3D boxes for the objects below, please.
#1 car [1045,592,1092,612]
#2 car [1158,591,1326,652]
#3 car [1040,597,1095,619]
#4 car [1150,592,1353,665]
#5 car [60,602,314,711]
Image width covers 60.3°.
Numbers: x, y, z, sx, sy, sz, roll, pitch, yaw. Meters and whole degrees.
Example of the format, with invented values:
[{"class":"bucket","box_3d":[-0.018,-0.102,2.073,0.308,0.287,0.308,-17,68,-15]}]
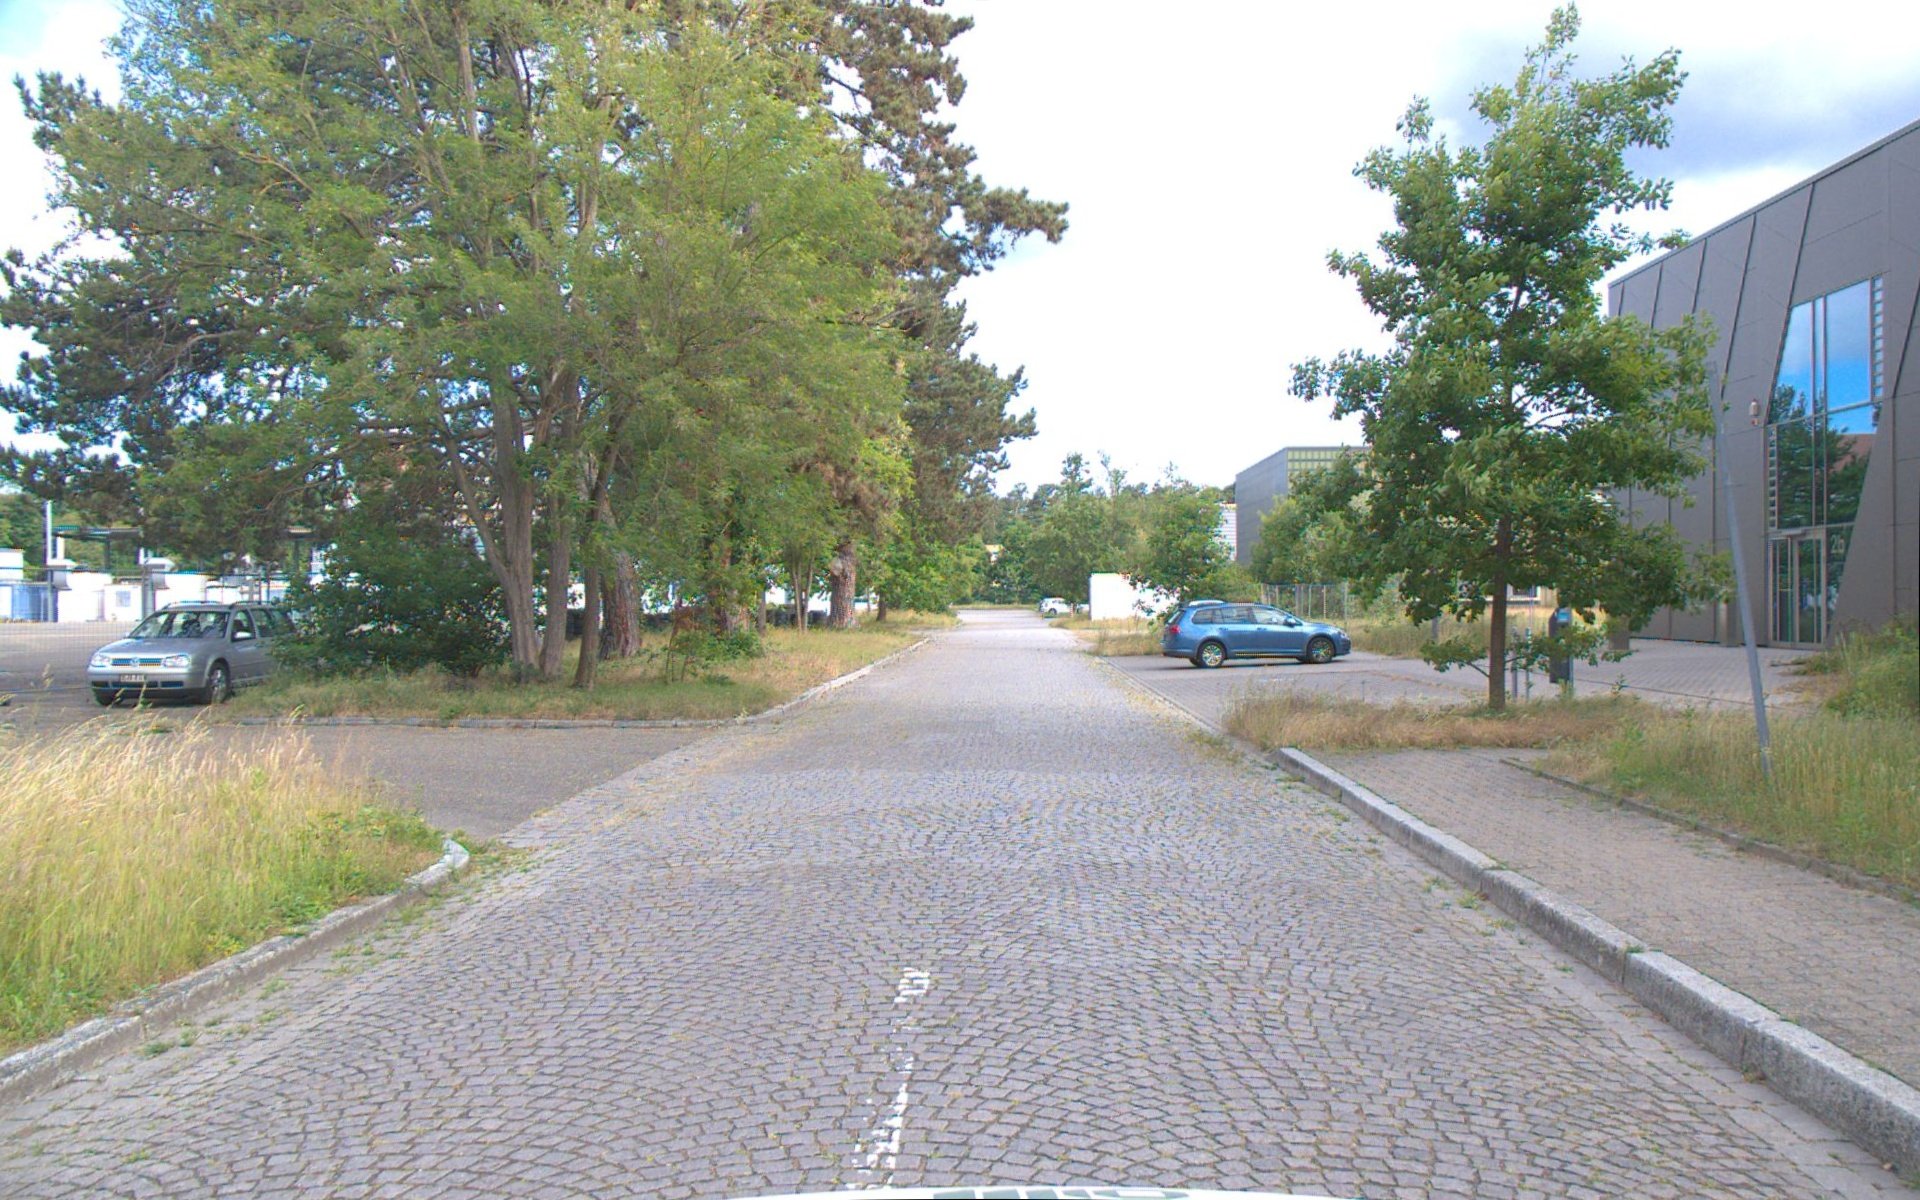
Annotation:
[{"class":"car","box_3d":[10.093,0.190,154.104,4.264,1.811,1.926,0,0,3]},{"class":"car","box_3d":[7.935,0.586,46.897,4.424,1.558,2.001,-2,0,2]},{"class":"car","box_3d":[8.636,0.614,133.133,4.265,1.717,1.925,0,0,0]},{"class":"car","box_3d":[6.918,0.664,39.589,4.427,1.558,1.999,-2,0,-2]},{"class":"car","box_3d":[-11.613,0.788,25.210,1.880,1.502,4.368,0,0,-1]}]
